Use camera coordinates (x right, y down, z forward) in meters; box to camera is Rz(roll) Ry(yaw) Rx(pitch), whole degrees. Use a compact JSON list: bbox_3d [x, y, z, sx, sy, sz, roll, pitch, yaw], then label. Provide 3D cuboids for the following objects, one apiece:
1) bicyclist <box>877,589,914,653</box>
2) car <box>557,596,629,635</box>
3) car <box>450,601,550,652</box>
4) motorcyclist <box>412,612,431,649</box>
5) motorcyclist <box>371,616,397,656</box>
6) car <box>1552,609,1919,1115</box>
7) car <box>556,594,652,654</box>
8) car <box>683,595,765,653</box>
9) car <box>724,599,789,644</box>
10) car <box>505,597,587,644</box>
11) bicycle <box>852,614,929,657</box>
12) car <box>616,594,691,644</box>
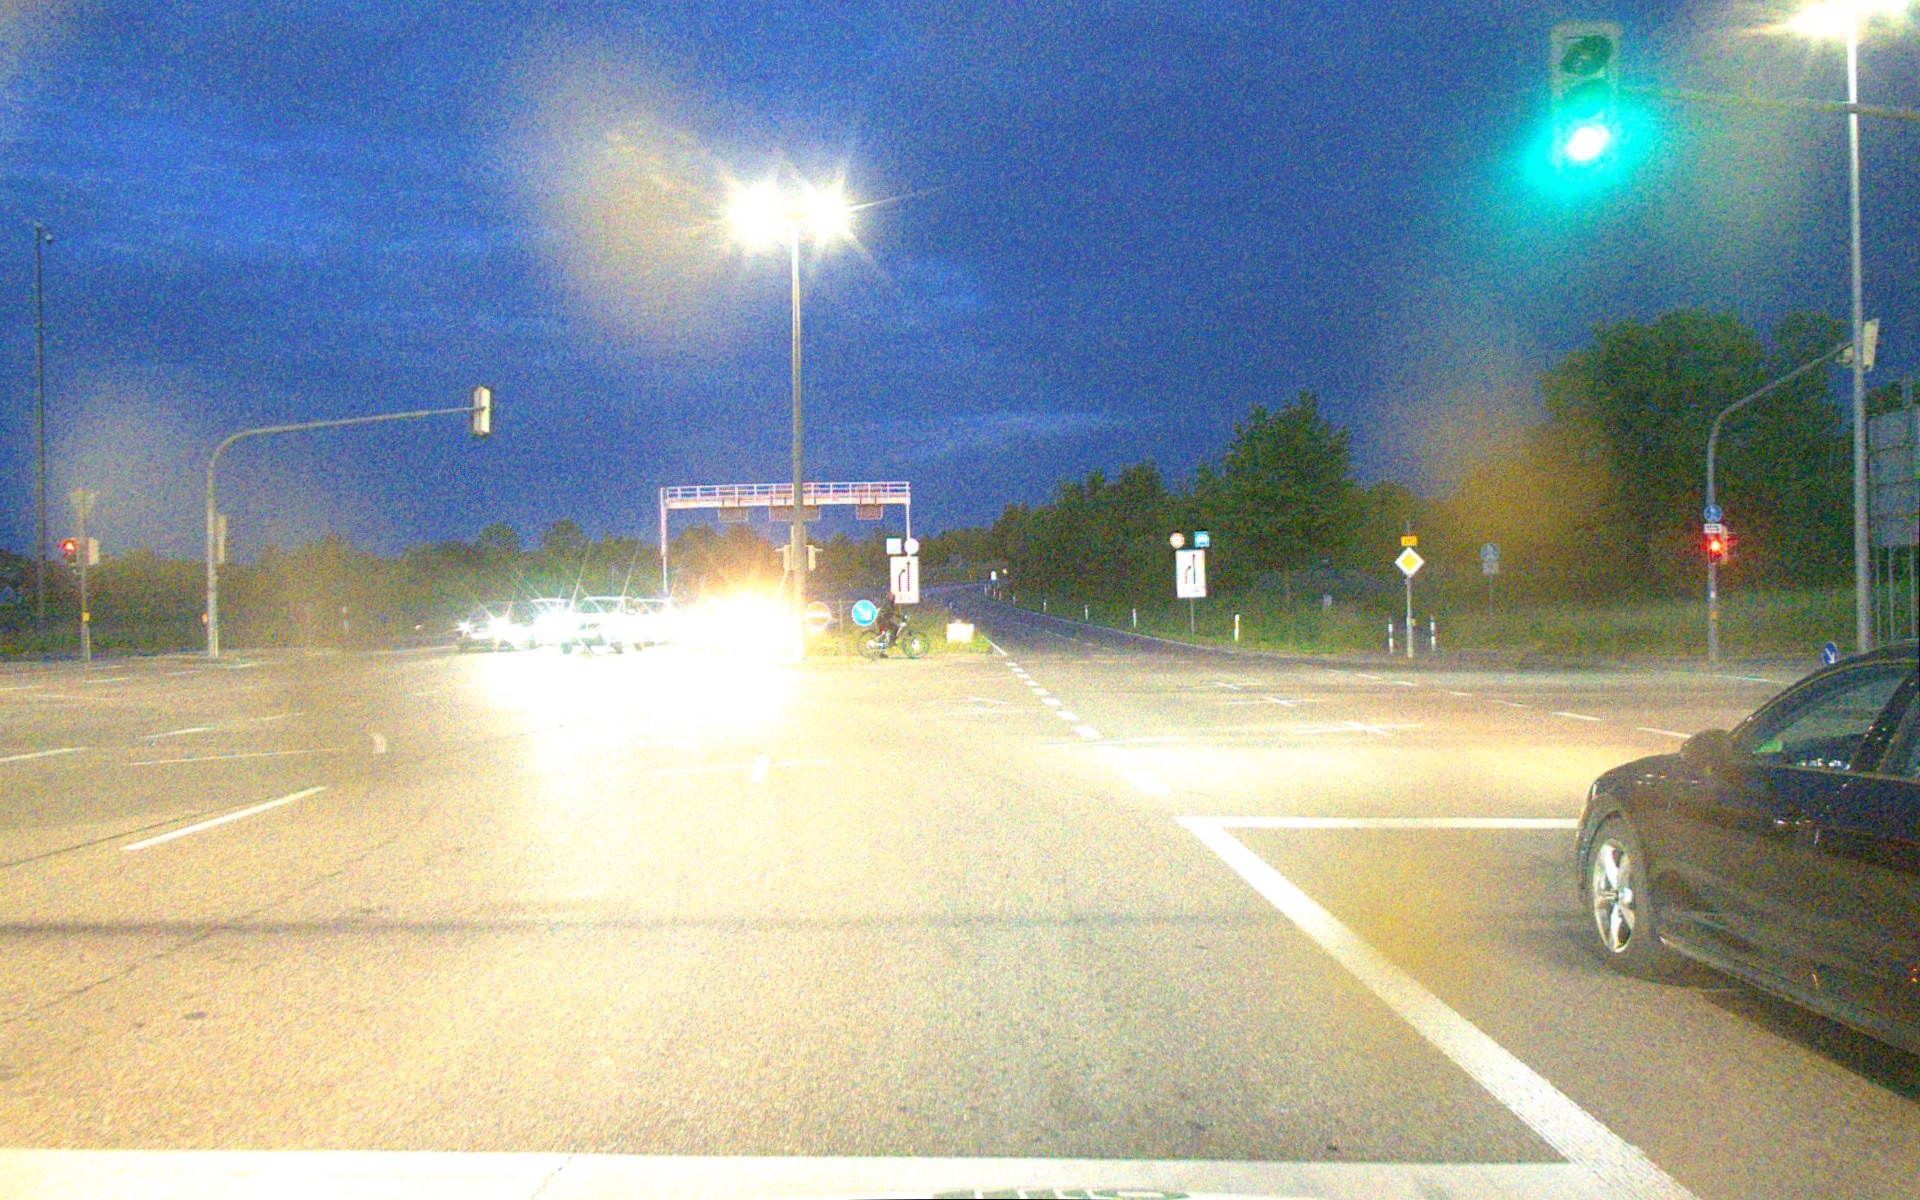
[{"bbox_3d":[-1.726,0.558,44.214,0.977,1.680,0.603,0,-1,-6],"label":"bicyclist"},{"bbox_3d":[-14.314,0.573,64.650,1.794,1.414,4.397,-1,0,0],"label":"car"},{"bbox_3d":[-14.155,0.799,51.142,1.743,1.471,4.292,0,0,2],"label":"car"},{"bbox_3d":[-27.249,1.553,83.659,0.669,1.790,0.789,-4,-2,-7],"label":"motorcyclist"},{"bbox_3d":[-27.443,1.716,78.793,0.898,1.840,0.868,-4,-3,-10],"label":"motorcyclist"},{"bbox_3d":[3.665,0.781,5.417,1.754,1.469,4.532,1,0,-1],"label":"car"},{"bbox_3d":[-10.686,0.686,49.970,1.869,1.711,4.420,0,0,1],"label":"car"},{"bbox_3d":[-7.157,0.690,50.479,1.814,1.661,4.585,0,0,0],"label":"car"},{"bbox_3d":[-7.141,0.740,58.318,1.736,1.507,3.910,1,0,1],"label":"car"},{"bbox_3d":[-14.325,0.681,57.414,1.794,1.551,4.000,-1,0,0],"label":"car"},{"bbox_3d":[-1.871,0.949,44.181,2.021,1.120,0.694,0,-1,-6],"label":"bicycle"},{"bbox_3d":[-10.606,0.613,57.480,1.709,1.655,4.363,0,0,1],"label":"car"}]
